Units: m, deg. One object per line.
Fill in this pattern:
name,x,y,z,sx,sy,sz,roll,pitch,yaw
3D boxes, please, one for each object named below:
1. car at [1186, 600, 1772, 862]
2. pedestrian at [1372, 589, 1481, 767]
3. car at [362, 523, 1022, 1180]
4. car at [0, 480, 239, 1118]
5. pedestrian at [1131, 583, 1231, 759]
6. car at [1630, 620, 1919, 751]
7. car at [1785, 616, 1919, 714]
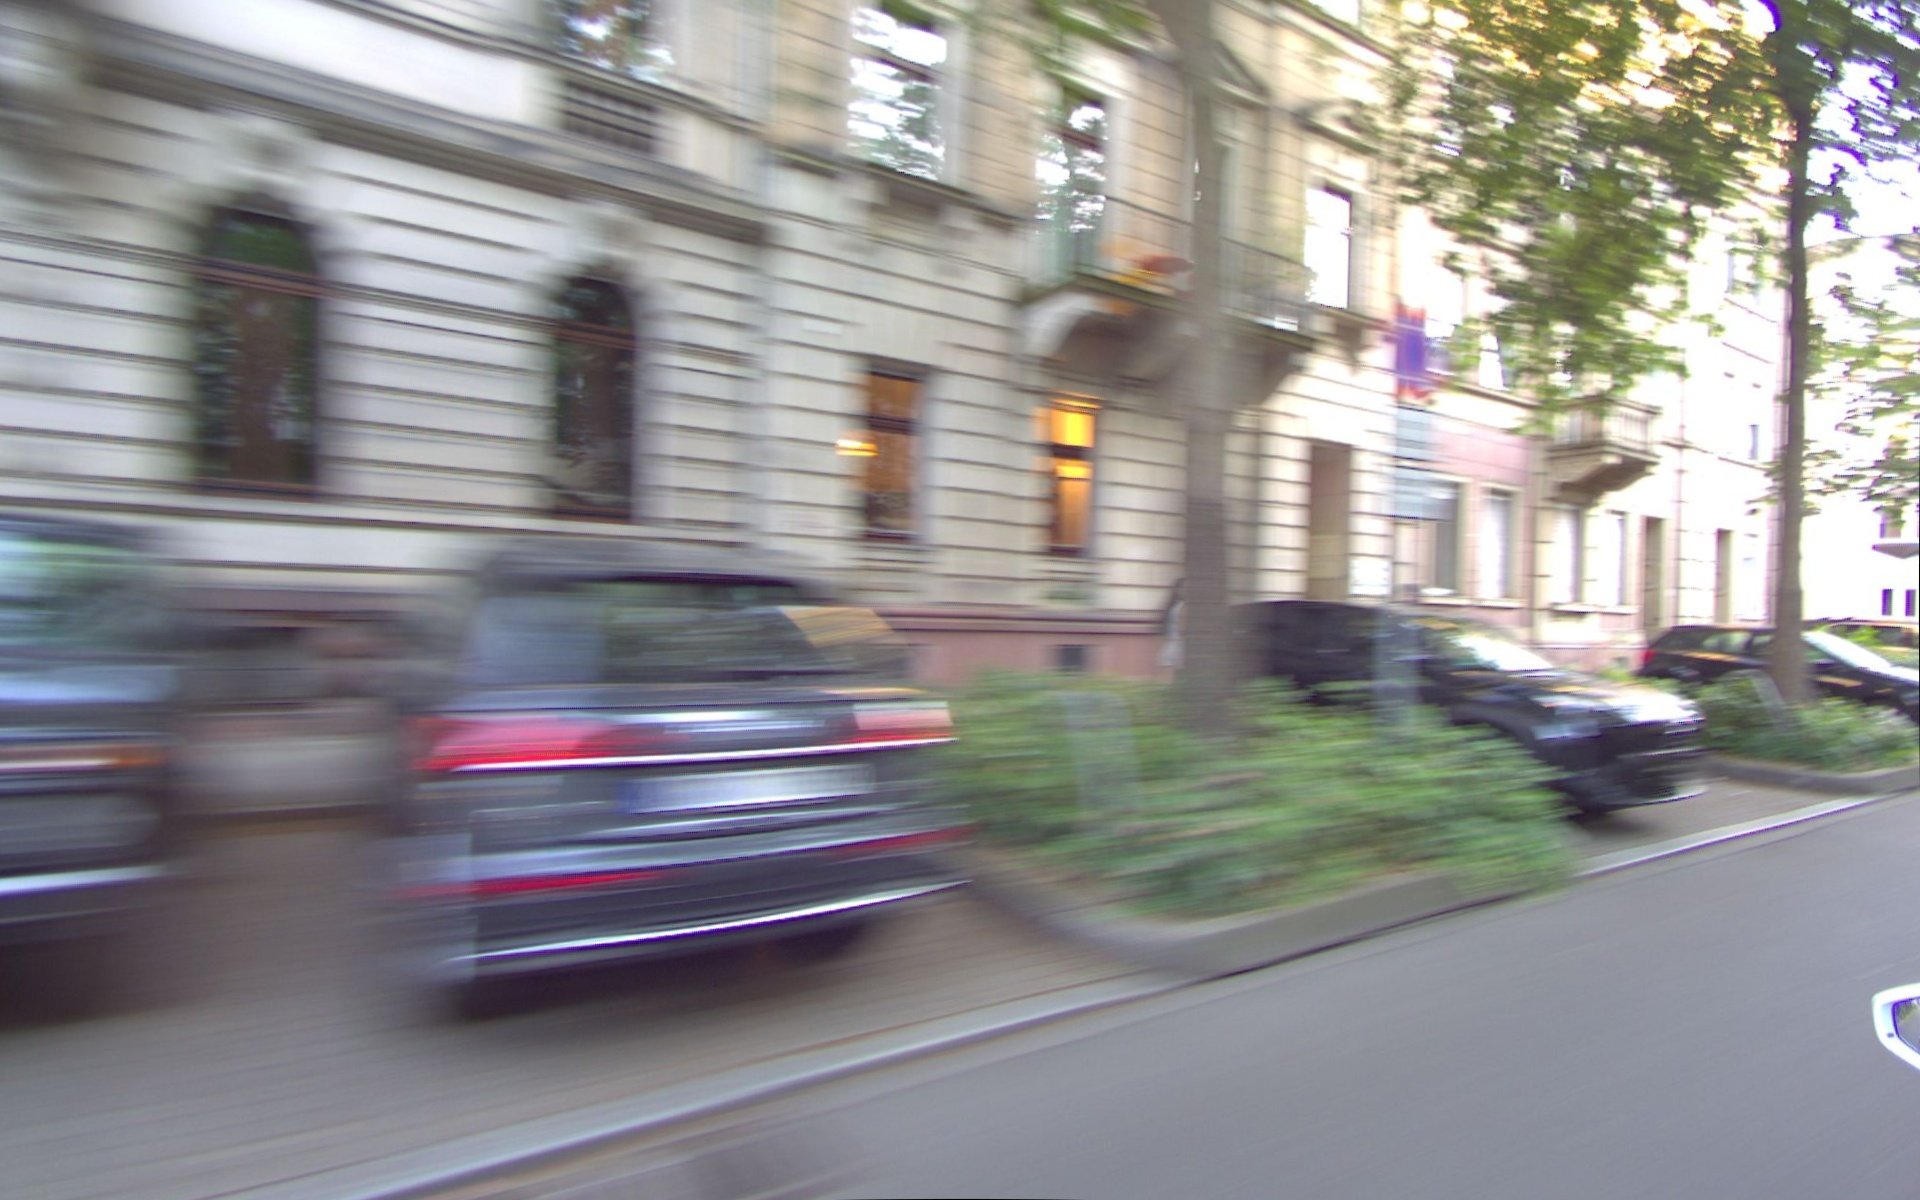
car,4.022,0.846,8.403,1.888,1.552,3.921,2,0,-34
pedestrian,4.860,0.782,10.476,0.662,1.762,0.732,2,1,-27
car,-1.709,0.604,4.859,1.887,1.694,4.176,1,1,-33
car,-3.970,0.466,3.953,1.696,1.694,3.777,1,1,-34
pedestrian,2.316,0.716,10.557,0.728,1.762,0.665,2,1,-31
car,11.951,1.108,14.200,1.853,1.478,3.669,1,1,-34
car,18.056,1.224,18.215,1.852,1.673,4.401,1,1,-32
